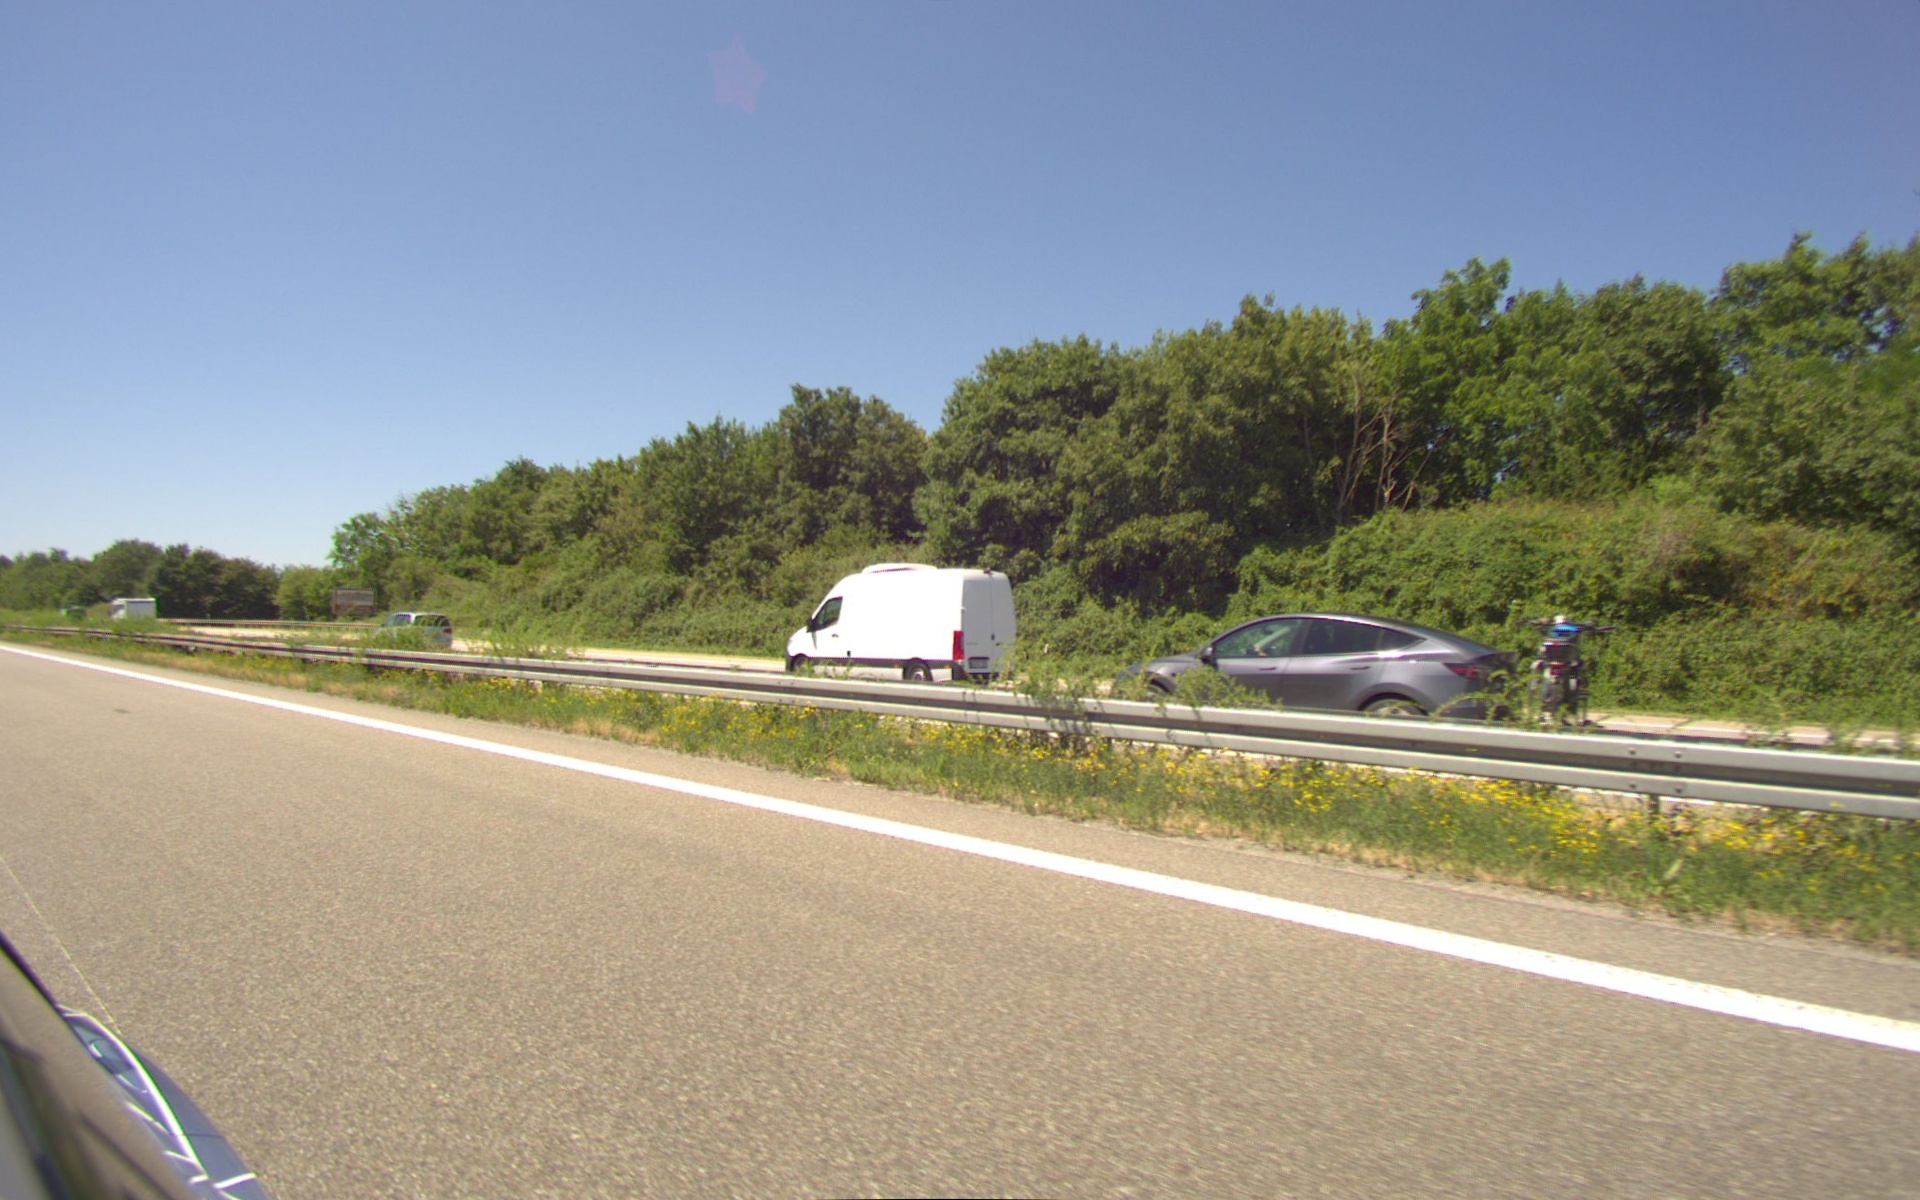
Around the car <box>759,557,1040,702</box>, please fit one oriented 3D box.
[{"bbox_3d":[-1.529,0.643,22.289,6.655,2.767,2.014,-1,-3,41],"label":"car"}]

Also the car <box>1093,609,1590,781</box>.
[{"bbox_3d":[4.198,0.929,11.739,5.042,1.579,1.973,-1,-2,41],"label":"car"}]

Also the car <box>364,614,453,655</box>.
[{"bbox_3d":[-22.038,1.326,40.382,4.414,1.519,1.724,-1,0,41],"label":"car"}]

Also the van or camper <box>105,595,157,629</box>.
[{"bbox_3d":[-78.026,1.138,95.244,7.753,3.026,2.579,-1,-1,41],"label":"van or camper"}]

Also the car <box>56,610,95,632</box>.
[{"bbox_3d":[-91.095,2.180,104.222,5.943,2.203,2.258,-1,-1,41],"label":"car"}]
